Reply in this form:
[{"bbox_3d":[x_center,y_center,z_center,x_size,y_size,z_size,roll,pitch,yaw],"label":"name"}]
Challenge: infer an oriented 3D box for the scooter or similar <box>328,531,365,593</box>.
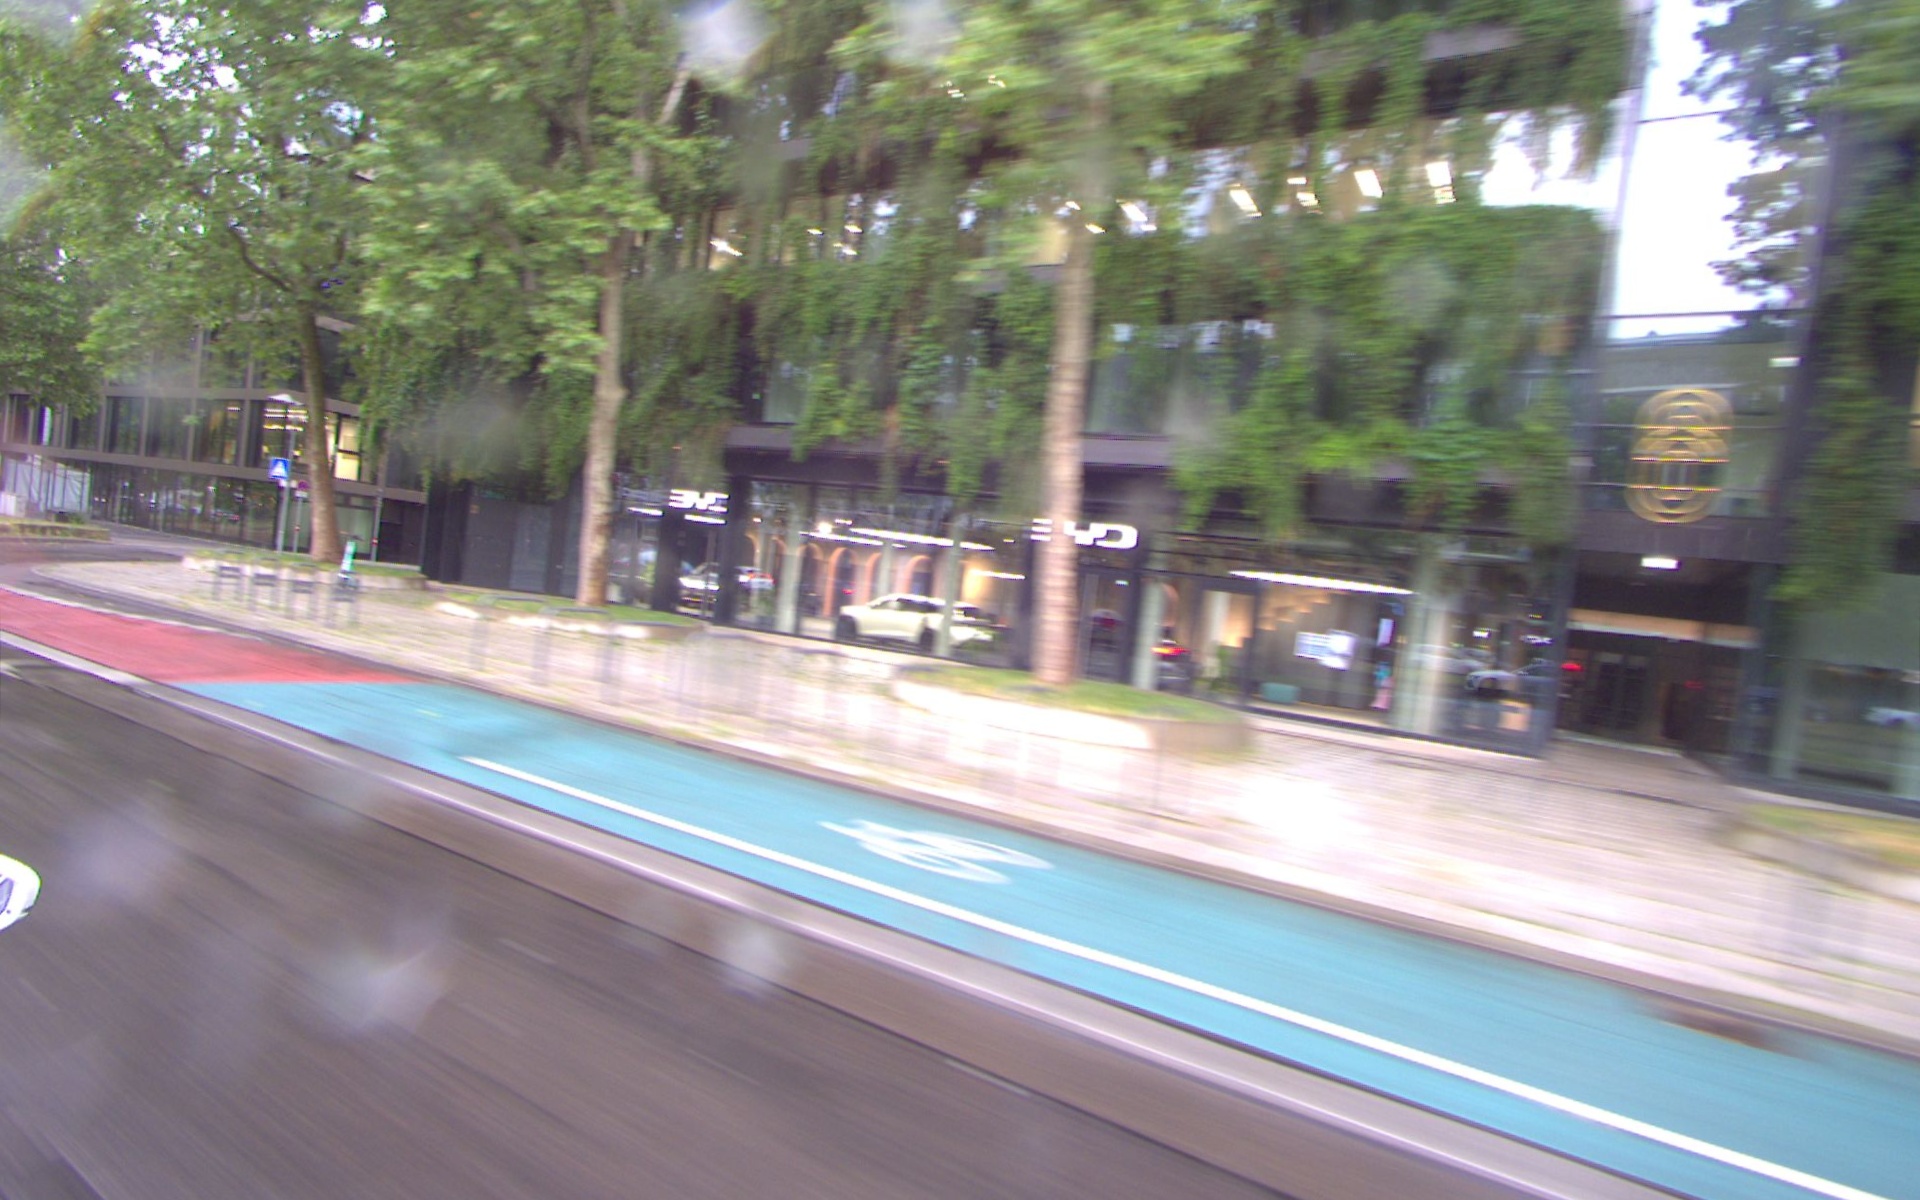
[{"bbox_3d":[-13.041,-0.820,21.397,0.377,1.243,1.073,6,1,-22],"label":"scooter or similar"}]
